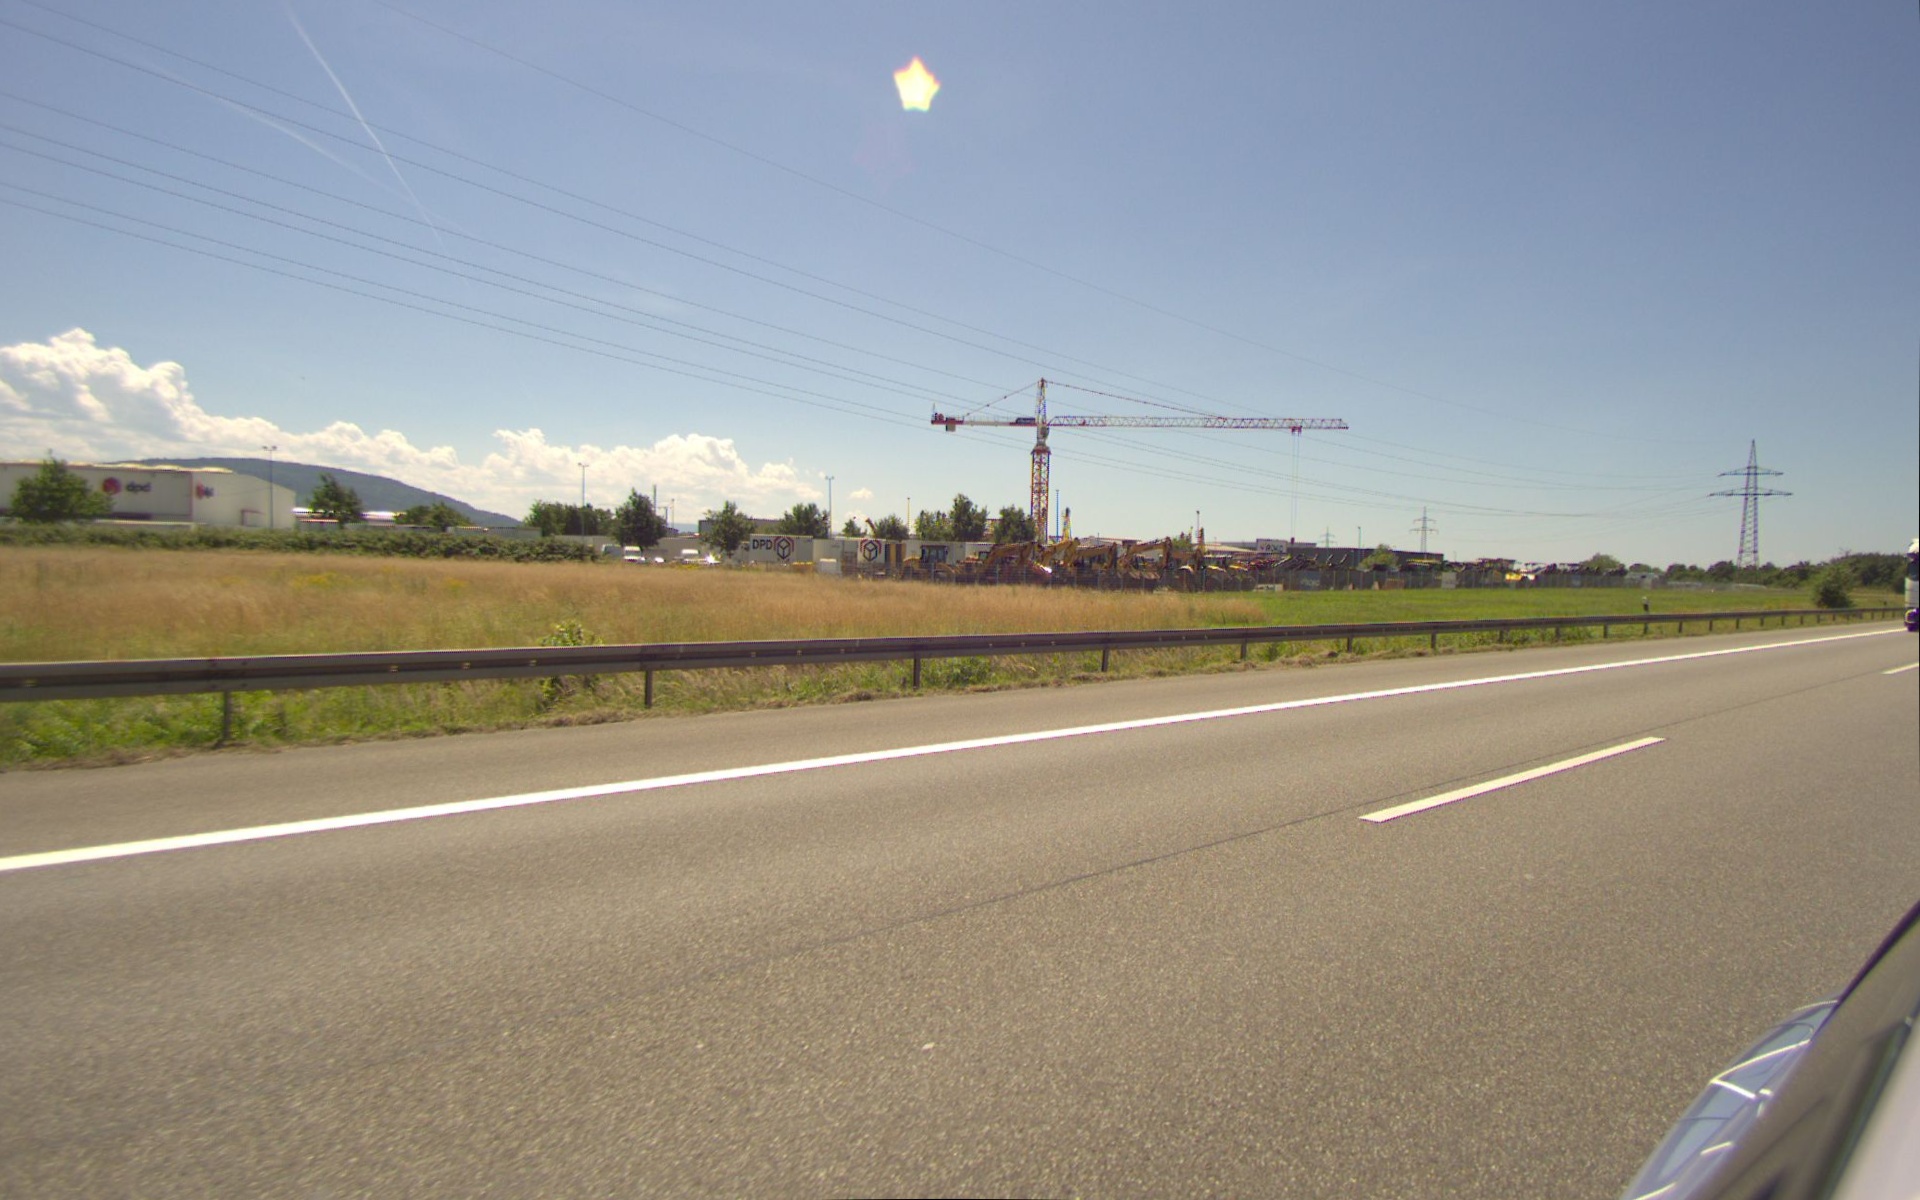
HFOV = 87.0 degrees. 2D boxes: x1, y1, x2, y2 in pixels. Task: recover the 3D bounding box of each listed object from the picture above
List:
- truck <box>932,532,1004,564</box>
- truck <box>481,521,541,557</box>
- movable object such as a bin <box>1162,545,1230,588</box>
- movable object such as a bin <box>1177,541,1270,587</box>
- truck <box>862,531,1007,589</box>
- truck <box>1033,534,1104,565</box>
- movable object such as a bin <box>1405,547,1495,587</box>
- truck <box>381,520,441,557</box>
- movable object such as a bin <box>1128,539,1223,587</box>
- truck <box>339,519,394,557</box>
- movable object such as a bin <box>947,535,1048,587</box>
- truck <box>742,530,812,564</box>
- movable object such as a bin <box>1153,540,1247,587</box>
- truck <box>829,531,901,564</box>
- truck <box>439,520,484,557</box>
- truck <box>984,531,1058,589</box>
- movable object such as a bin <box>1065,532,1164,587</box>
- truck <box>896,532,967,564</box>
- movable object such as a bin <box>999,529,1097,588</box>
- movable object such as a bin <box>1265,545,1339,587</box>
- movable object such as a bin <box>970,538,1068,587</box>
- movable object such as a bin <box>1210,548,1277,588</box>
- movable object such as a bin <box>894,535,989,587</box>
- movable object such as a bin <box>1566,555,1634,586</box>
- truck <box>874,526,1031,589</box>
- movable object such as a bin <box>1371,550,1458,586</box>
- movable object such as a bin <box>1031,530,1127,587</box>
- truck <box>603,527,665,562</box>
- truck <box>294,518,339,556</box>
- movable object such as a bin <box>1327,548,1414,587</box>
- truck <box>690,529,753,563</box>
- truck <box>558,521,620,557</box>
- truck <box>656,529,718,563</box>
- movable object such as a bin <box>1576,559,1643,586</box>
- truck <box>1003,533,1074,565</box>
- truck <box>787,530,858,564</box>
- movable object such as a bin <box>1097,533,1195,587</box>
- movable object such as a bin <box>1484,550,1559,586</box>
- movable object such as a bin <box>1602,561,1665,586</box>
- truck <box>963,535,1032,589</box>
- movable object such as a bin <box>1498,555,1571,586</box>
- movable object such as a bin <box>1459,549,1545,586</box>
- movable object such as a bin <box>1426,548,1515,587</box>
[{"bbox_3d":[0.901,-5.992,117.021,8.123,3.453,2.802,4,3,35],"label":"truck"},{"bbox_3d":[-45.228,-6.147,101.792,2.713,3.453,8.153,0,3,-45],"label":"truck"},{"bbox_3d":[27.884,-3.869,119.944,3.225,4.865,8.507,0,0,-25],"label":"movable object such as a bin"},{"bbox_3d":[24.236,-3.208,93.555,3.080,4.001,8.114,0,0,-38],"label":"movable object such as a bin"},{"bbox_3d":[-2.042,-3.395,89.361,13.880,4.832,3.051,-1,0,-39],"label":"truck"},{"bbox_3d":[12.915,-6.086,121.041,8.133,3.453,2.798,4,3,38],"label":"truck"},{"bbox_3d":[59.616,-3.946,123.258,3.374,4.569,9.380,0,0,-38],"label":"movable object such as a bin"},{"bbox_3d":[-53.822,-6.081,99.058,8.148,3.453,2.786,4,3,43],"label":"truck"},{"bbox_3d":[18.756,-3.135,88.720,3.080,4.001,8.114,0,0,-38],"label":"movable object such as a bin"},{"bbox_3d":[-57.420,-6.052,97.764,2.783,3.453,8.156,0,3,-44],"label":"truck"},{"bbox_3d":[2.613,-2.703,73.461,2.829,3.507,8.114,0,0,-38],"label":"movable object such as a bin"},{"bbox_3d":[-19.999,-5.828,110.082,8.123,3.453,2.497,4,3,35],"label":"truck"},{"bbox_3d":[21.545,-3.174,91.385,3.080,4.001,8.114,0,0,-38],"label":"movable object such as a bin"},{"bbox_3d":[-10.643,-5.901,113.094,8.123,3.453,2.802,4,3,35],"label":"truck"},{"bbox_3d":[-49.484,-6.113,100.346,2.776,3.453,8.177,0,3,-35],"label":"truck"},{"bbox_3d":[5.307,-3.407,87.348,5.875,4.832,3.051,0,0,-39],"label":"truck"},{"bbox_3d":[12.685,-3.252,83.917,3.290,4.351,8.114,0,0,-38],"label":"movable object such as a bin"},{"bbox_3d":[-3.302,-5.959,115.630,8.123,3.453,2.802,4,3,35],"label":"truck"},{"bbox_3d":[6.748,-3.103,78.627,2.829,4.351,8.114,0,0,-38],"label":"movable object such as a bin"},{"bbox_3d":[35.320,-3.449,104.923,3.366,4.103,9.401,0,0,-8],"label":"movable object such as a bin"},{"bbox_3d":[4.336,-2.743,76.645,2.829,3.507,8.114,0,0,-38],"label":"movable object such as a bin"},{"bbox_3d":[35.545,-3.923,127.447,3.072,4.803,9.625,0,0,-20],"label":"movable object such as a bin"},{"bbox_3d":[-1.424,-2.674,72.279,2.829,3.507,7.584,0,0,-38],"label":"movable object such as a bin"},{"bbox_3d":[95.677,-4.327,151.341,2.829,4.429,8.114,0,0,-38],"label":"movable object such as a bin"},{"bbox_3d":[-0.343,-3.335,82.730,14.066,4.832,3.051,-1,0,-39],"label":"truck"},{"bbox_3d":[54.040,-3.706,120.770,3.367,4.103,9.399,0,0,-28],"label":"movable object such as a bin"},{"bbox_3d":[9.403,-3.207,80.955,2.829,4.351,8.114,0,0,-38],"label":"movable object such as a bin"},{"bbox_3d":[-34.063,-5.841,105.663,2.713,3.453,8.153,0,3,-45],"label":"truck"},{"bbox_3d":[-61.729,-6.025,96.968,2.778,3.453,8.169,0,3,-39],"label":"truck"},{"bbox_3d":[45.628,-3.539,112.877,3.364,4.103,9.405,0,0,-22],"label":"movable object such as a bin"},{"bbox_3d":[-25.681,-5.802,108.745,2.713,3.453,8.153,0,3,-45],"label":"truck"},{"bbox_3d":[-37.798,-6.197,102.892,2.713,3.453,8.153,0,3,-45],"label":"truck"},{"bbox_3d":[-29.033,-5.776,107.349,2.713,3.453,8.153,0,3,-45],"label":"truck"},{"bbox_3d":[98.470,-4.124,153.650,2.829,3.988,8.114,0,0,-38],"label":"movable object such as a bin"},{"bbox_3d":[9.240,-6.057,119.806,8.137,3.453,2.797,4,3,40],"label":"truck"},{"bbox_3d":[-15.248,-5.865,111.600,8.123,3.453,2.603,4,3,35],"label":"truck"},{"bbox_3d":[15.715,-3.288,86.179,3.239,4.351,8.114,0,0,-38],"label":"movable object such as a bin"},{"bbox_3d":[73.955,-4.112,133.442,3.289,4.569,8.114,0,0,-38],"label":"movable object such as a bin"},{"bbox_3d":[110.366,-4.301,165.868,2.829,3.988,8.114,0,0,-38],"label":"movable object such as a bin"},{"bbox_3d":[3.481,-3.465,93.850,5.875,4.832,3.051,0,0,-39],"label":"truck"},{"bbox_3d":[77.252,-3.894,136.209,2.829,3.955,8.114,0,0,-38],"label":"movable object such as a bin"},{"bbox_3d":[70.184,-4.073,131.227,3.374,4.569,9.380,0,0,-38],"label":"movable object such as a bin"},{"bbox_3d":[63.928,-4.002,126.976,3.374,4.569,9.380,0,0,-38],"label":"movable object such as a bin"}]
